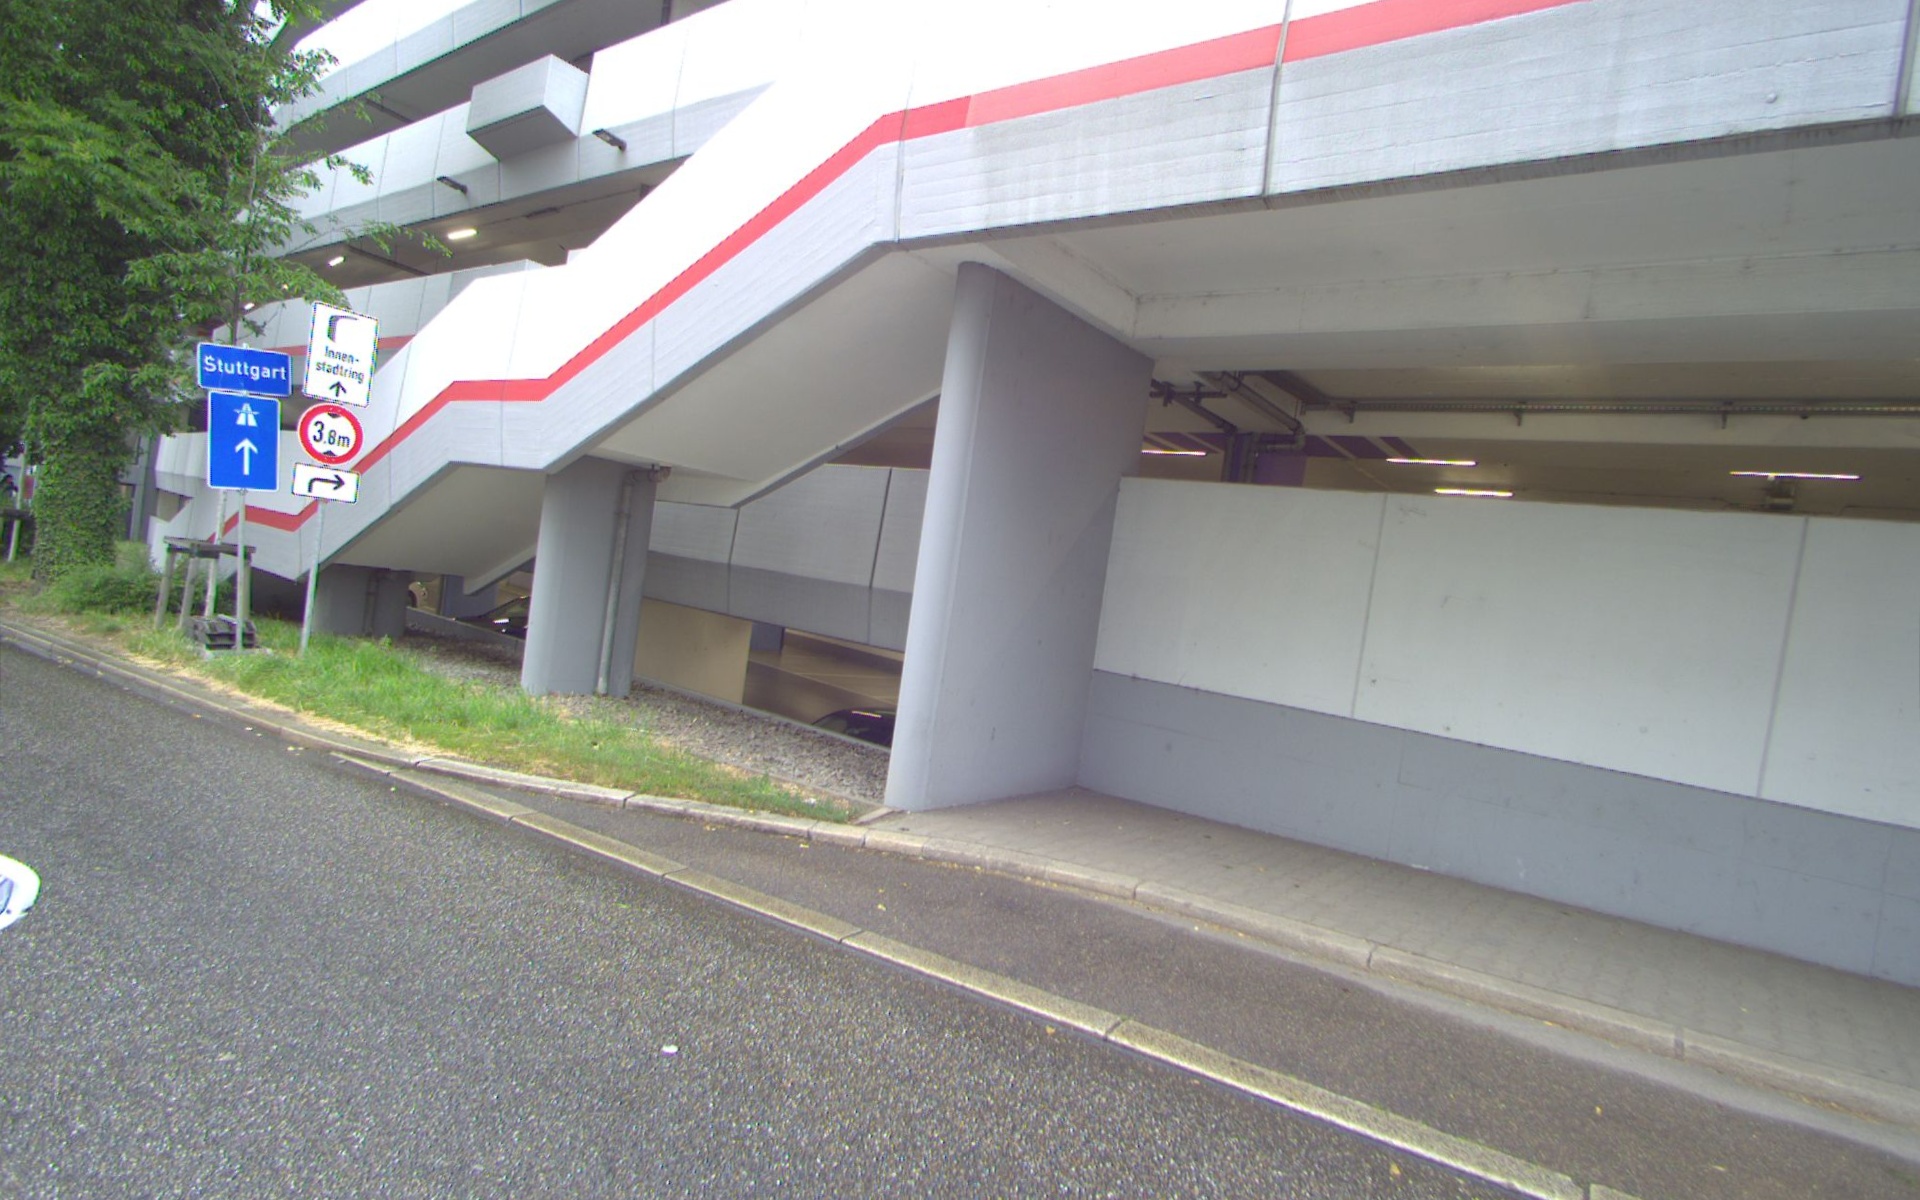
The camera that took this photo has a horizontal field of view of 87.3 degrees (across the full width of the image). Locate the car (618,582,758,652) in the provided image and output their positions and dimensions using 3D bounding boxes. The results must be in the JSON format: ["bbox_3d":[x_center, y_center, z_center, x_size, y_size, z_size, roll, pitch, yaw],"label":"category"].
[{"bbox_3d":[-8.911,0.586,33.187,1.792,1.804,3.979,7,0,44],"label":"car"}]

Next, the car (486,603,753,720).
[{"bbox_3d":[-5.827,1.131,17.621,1.810,1.643,3.988,7,-1,36],"label":"car"}]

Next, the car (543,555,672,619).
[{"bbox_3d":[-12.991,-0.466,37.242,1.792,1.804,3.979,7,0,44],"label":"car"}]

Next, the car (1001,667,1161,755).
[{"bbox_3d":[2.942,2.609,23.742,1.810,1.559,3.988,11,2,37],"label":"car"}]

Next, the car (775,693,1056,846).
[{"bbox_3d":[-0.512,2.343,14.621,1.810,1.559,3.931,11,2,37],"label":"car"}]

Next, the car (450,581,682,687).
[{"bbox_3d":[-7.642,0.722,19.788,1.782,1.559,3.734,11,2,37],"label":"car"}]
